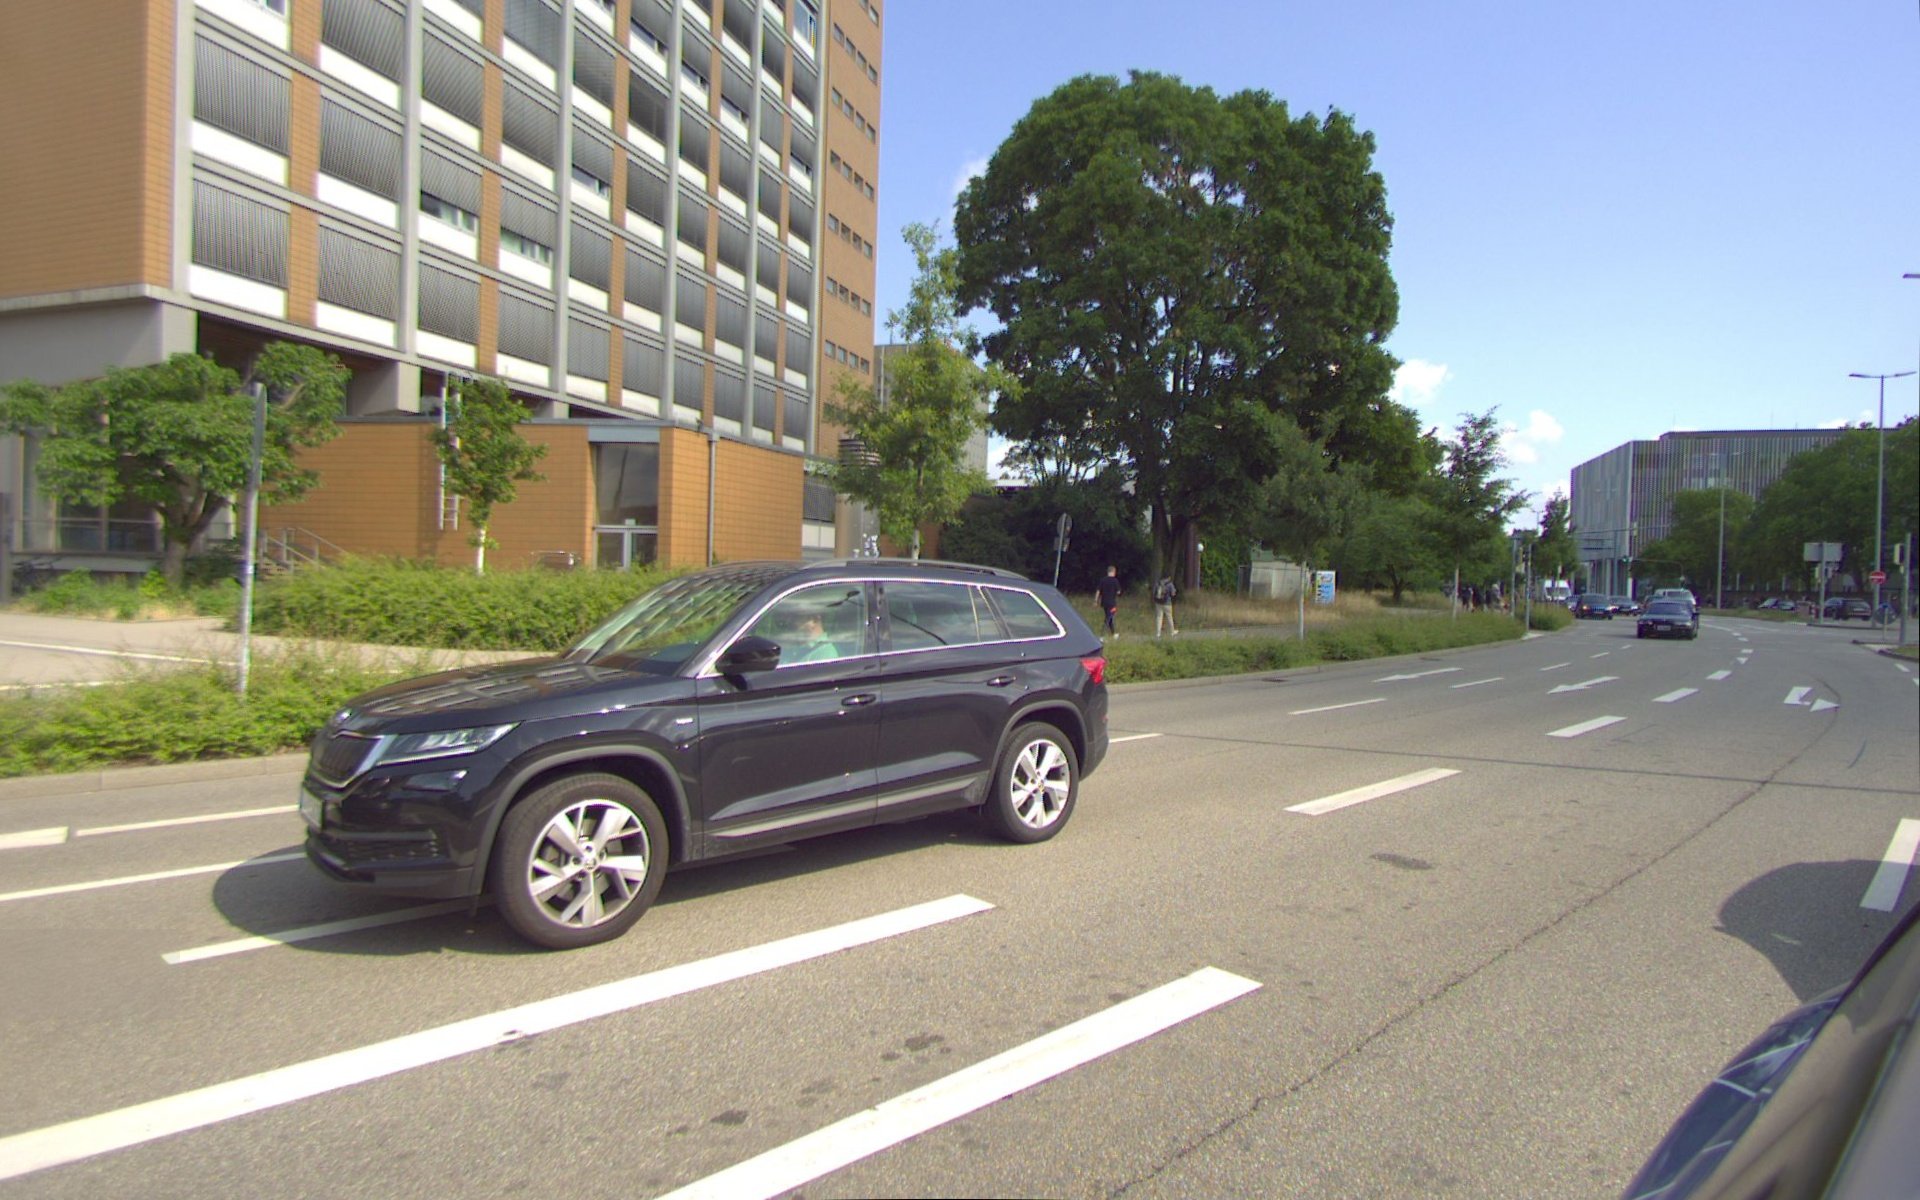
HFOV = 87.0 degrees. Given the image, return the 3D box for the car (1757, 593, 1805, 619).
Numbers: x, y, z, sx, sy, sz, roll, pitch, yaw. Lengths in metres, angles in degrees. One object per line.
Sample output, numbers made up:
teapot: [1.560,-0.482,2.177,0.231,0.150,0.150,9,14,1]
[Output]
car: [65.257,0.461,80.497,1.749,2.039,3.592,0,0,18]

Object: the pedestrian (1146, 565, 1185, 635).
pedestrian: [5.461,-0.011,26.853,0.634,1.766,0.672,0,5,-41]

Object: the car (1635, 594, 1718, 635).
car: [26.875,0.496,37.906,1.993,1.415,4.440,1,1,42]

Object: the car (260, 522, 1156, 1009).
car: [-1.092,0.515,5.795,4.604,1.689,1.996,-1,2,-42]

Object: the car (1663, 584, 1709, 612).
car: [55.041,-0.180,76.779,1.980,2.039,5.029,0,0,26]

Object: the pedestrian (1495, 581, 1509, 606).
pedestrian: [43.989,-0.535,82.131,0.980,2.039,1.117,0,0,33]

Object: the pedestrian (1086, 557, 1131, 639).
pedestrian: [3.545,-0.064,24.219,0.634,1.893,0.760,0,4,-40]

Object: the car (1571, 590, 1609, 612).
car: [44.450,0.044,71.451,1.982,1.504,3.960,2,2,28]

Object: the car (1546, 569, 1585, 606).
car: [50.539,-1.035,84.575,2.465,2.915,6.086,2,1,29]

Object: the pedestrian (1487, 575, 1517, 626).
pedestrian: [21.846,0.012,40.814,0.980,2.039,1.117,0,0,33]

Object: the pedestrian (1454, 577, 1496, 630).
pedestrian: [20.395,0.122,40.072,0.966,2.039,1.132,0,0,-20]

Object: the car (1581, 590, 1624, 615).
car: [40.898,0.129,64.521,1.982,1.504,3.960,2,2,28]

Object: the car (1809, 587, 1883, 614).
car: [56.867,0.011,65.047,1.972,1.616,3.980,2,1,16]

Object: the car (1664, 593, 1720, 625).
car: [36.036,0.407,49.766,1.709,1.472,3.937,2,2,44]

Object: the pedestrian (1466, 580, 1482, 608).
pedestrian: [38.549,-0.447,75.893,0.980,2.039,1.117,0,0,33]

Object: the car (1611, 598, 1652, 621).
car: [48.759,0.672,73.558,1.872,1.638,3.965,0,0,26]
